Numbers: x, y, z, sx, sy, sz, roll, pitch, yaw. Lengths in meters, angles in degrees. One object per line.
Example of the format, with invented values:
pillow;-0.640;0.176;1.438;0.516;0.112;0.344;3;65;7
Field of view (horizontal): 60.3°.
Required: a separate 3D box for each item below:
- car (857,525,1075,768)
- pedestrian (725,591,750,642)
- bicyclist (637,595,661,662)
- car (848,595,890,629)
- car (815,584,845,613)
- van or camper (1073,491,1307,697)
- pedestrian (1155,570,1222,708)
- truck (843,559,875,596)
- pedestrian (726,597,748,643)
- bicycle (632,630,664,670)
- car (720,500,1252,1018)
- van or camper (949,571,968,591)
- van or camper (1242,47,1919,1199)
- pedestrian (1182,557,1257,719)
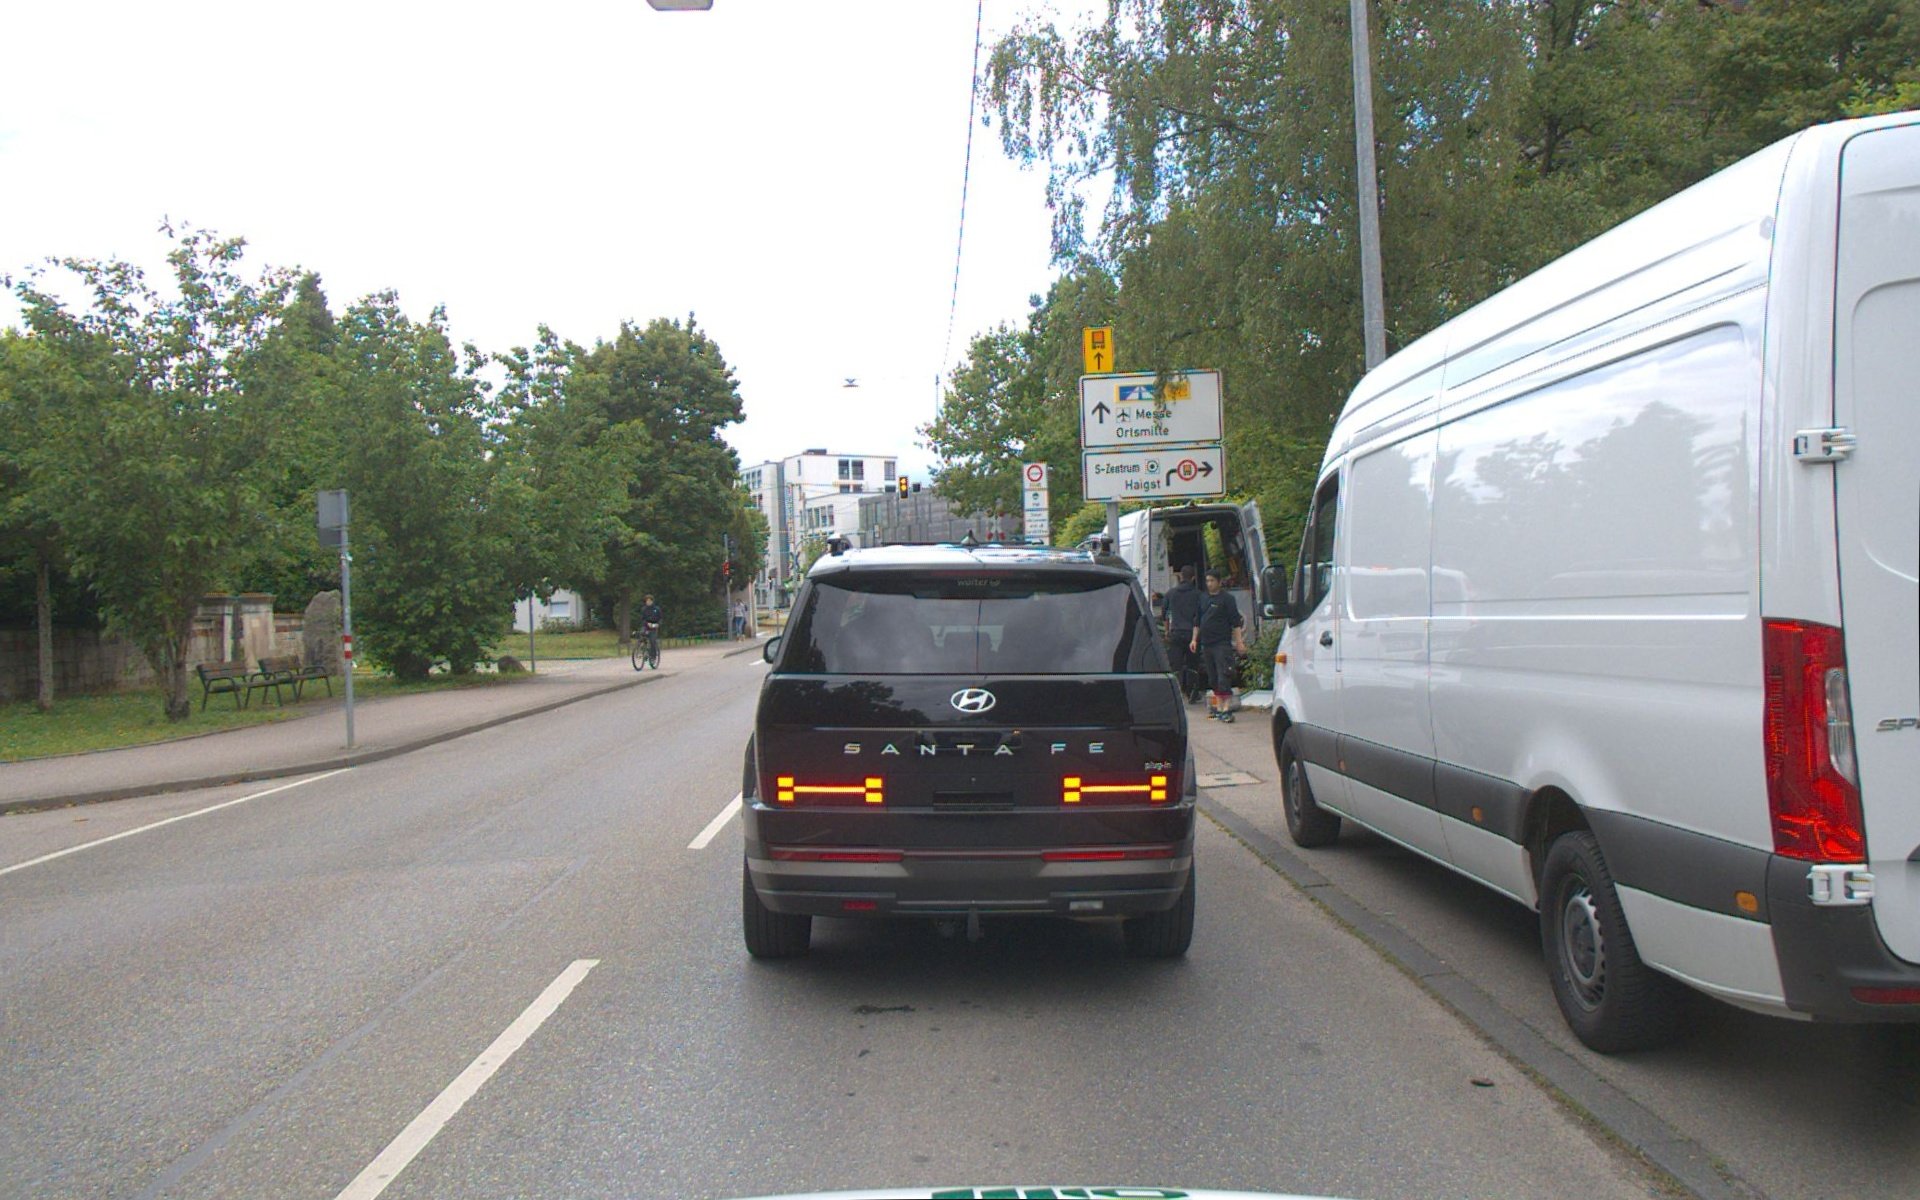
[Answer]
car;0.027;0.413;16.326;1.858;2.077;3.993;1;0;-1
pedestrian;-9.071;0.667;67.481;0.812;2.049;1.047;1;0;1
bicyclist;-7.995;0.729;42.521;0.477;1.713;0.588;1;-1;-1
car;-4.316;0.555;78.971;1.721;1.427;4.413;-4;0;-1
car;-11.341;-0.120;144.039;2.288;2.356;4.950;-2;0;-7
van or camper;3.290;-0.029;25.313;2.294;2.537;6.600;-5;-1;-2
pedestrian;2.883;0.487;20.902;0.721;1.672;0.802;-3;-1;5
truck;-11.549;-2.548;187.815;3.048;3.926;9.607;-2;0;-7
pedestrian;-8.753;0.782;65.050;0.751;1.779;0.904;-1;0;-2
bicycle;-8.001;1.273;42.456;0.485;0.981;1.748;1;0;-1
car;0.069;0.573;7.861;1.858;1.807;3.993;1;0;-1
van or camper;-0.159;-1.938;172.501;1.760;2.033;3.820;1;0;-4
van or camper;2.875;0.034;7.031;1.951;2.670;6.543;-5;0;-1
pedestrian;2.902;0.419;18.558;0.734;1.751;0.792;-2;-1;5
